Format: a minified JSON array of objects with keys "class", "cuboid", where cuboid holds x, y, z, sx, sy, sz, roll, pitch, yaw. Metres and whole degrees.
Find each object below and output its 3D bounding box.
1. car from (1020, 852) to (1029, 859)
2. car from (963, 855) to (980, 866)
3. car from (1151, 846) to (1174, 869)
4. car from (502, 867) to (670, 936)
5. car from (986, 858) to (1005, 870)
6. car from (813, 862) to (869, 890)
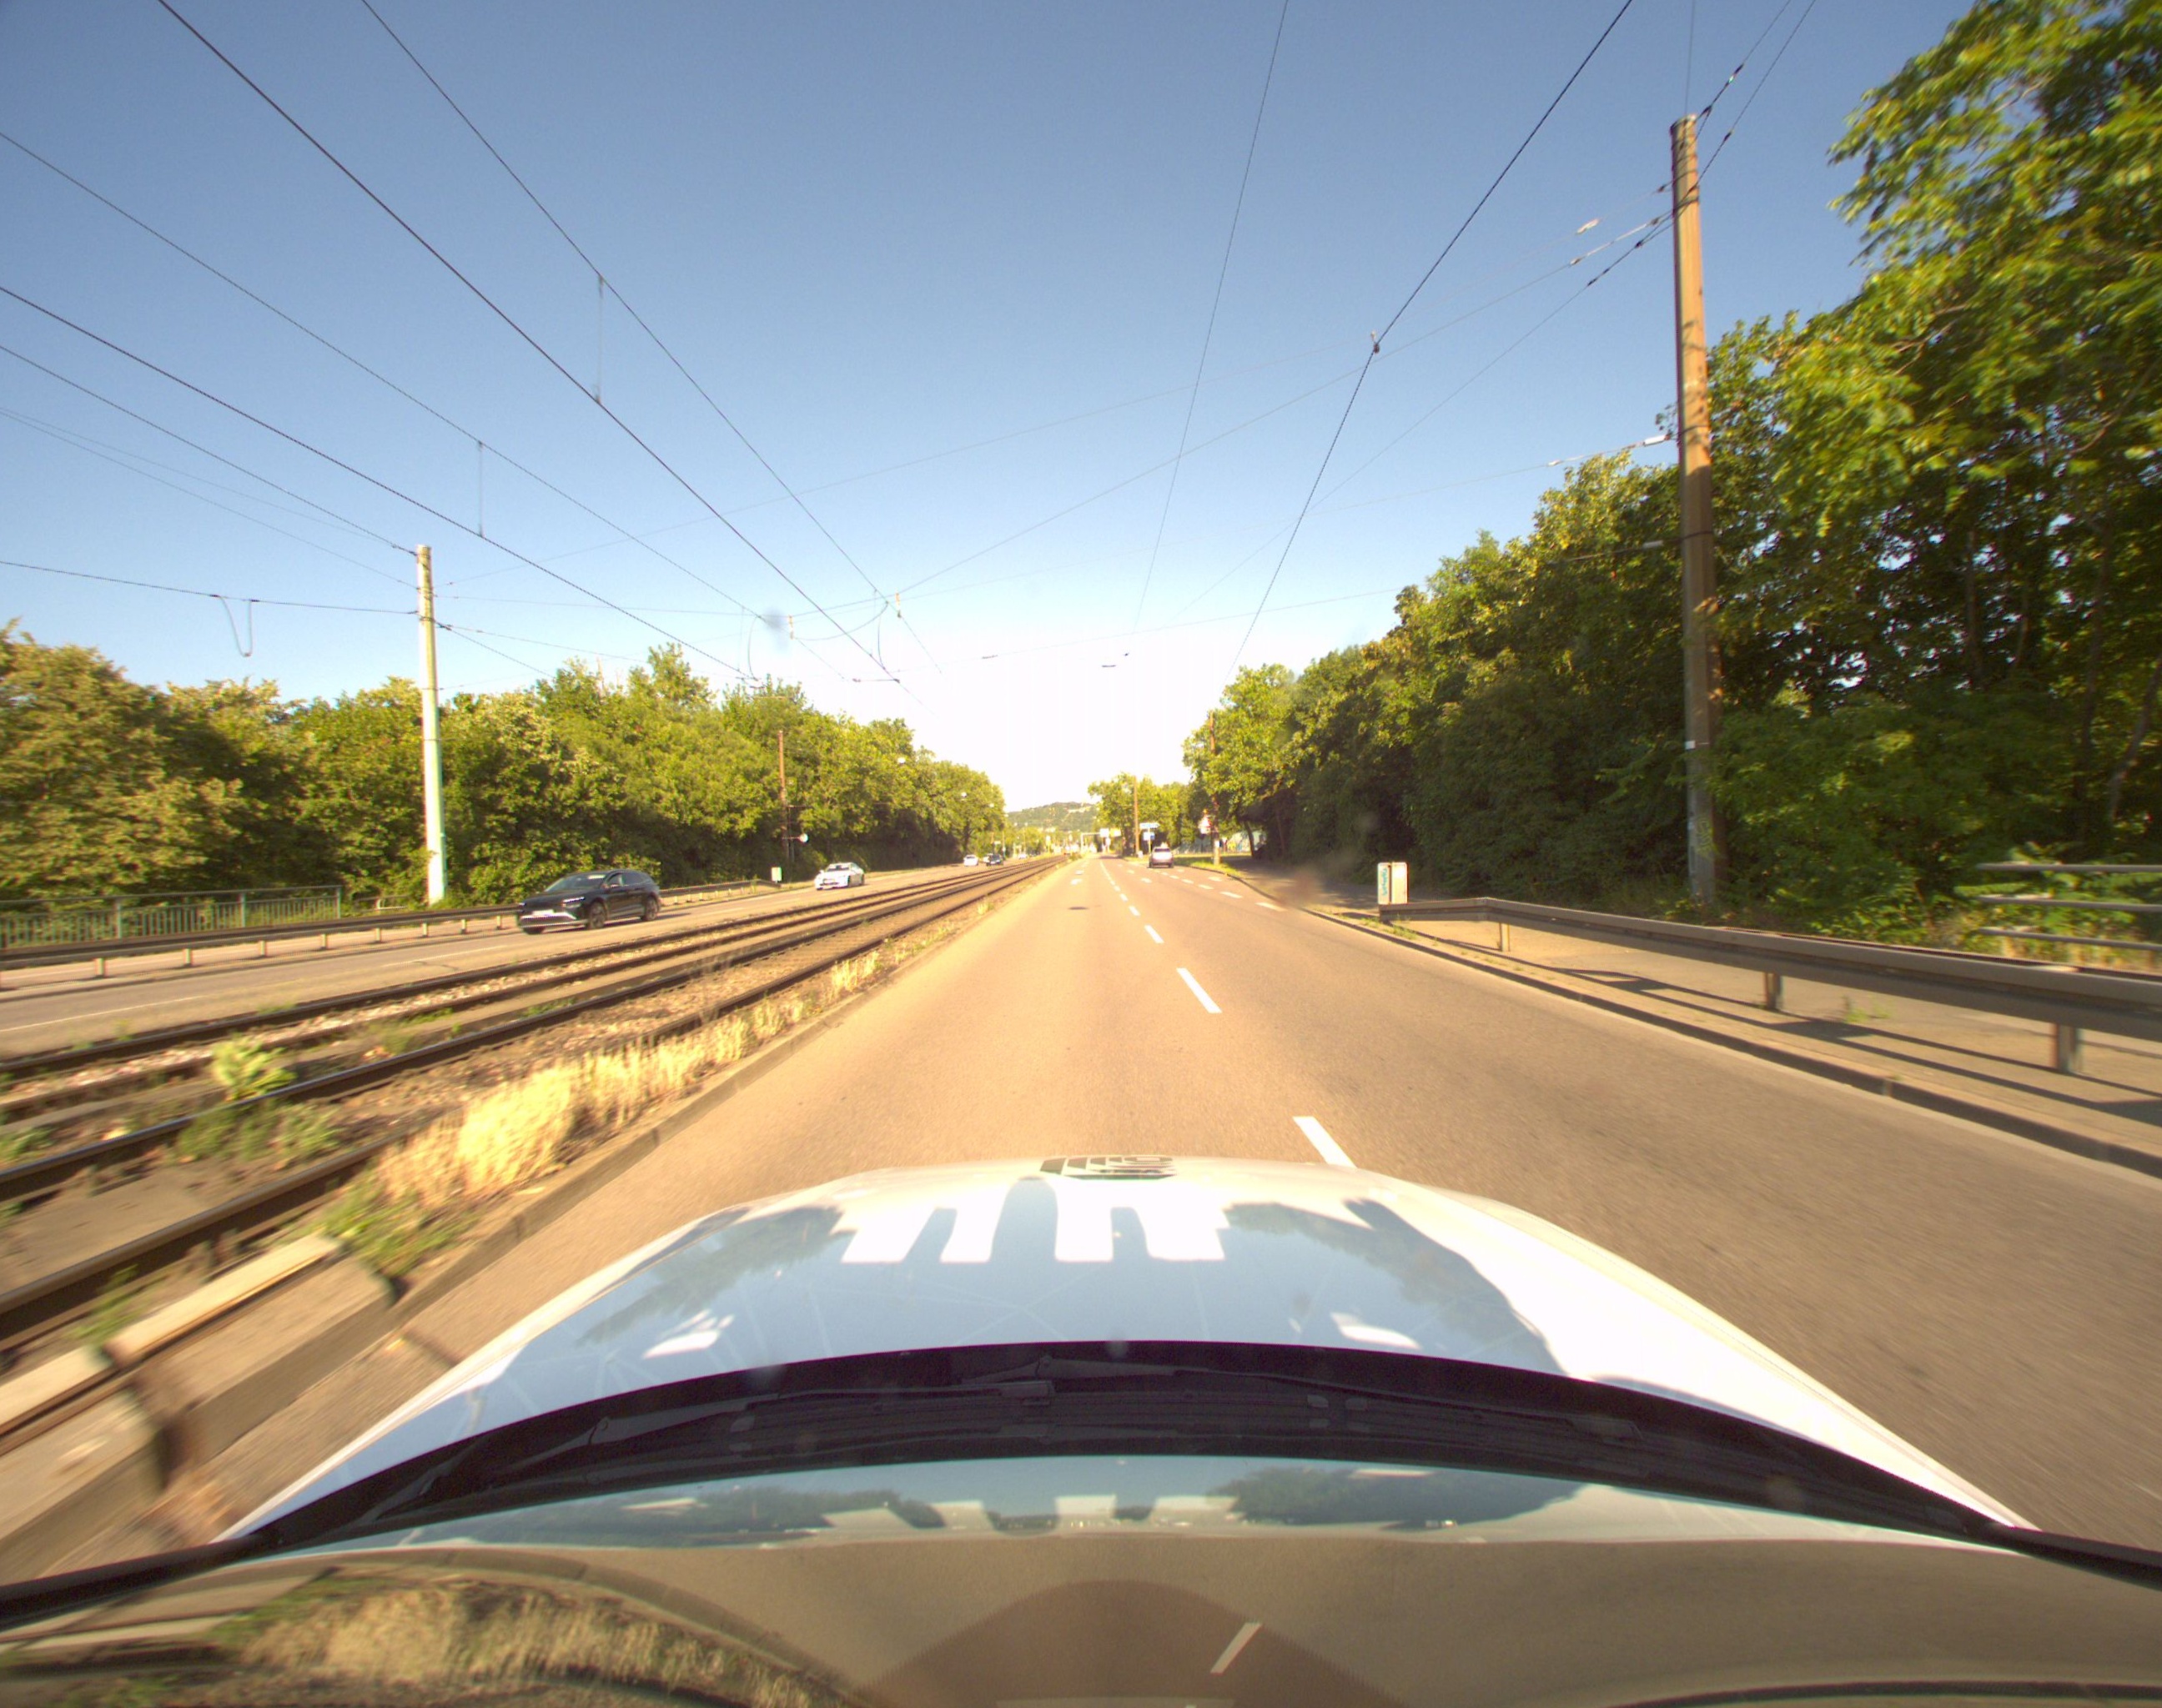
[{"class":"car","cuboid":[-14.491,0.450,207.995,1.957,1.707,4.941,-4,0,-2]},{"class":"car","cuboid":[-16.004,0.956,119.120,1.685,1.556,4.192,-4,0,1]},{"class":"car","cuboid":[6.545,0.279,65.451,1.800,1.773,3.868,-1,0,5]},{"class":"car","cuboid":[-13.567,1.236,22.744,1.704,1.580,4.800,-3,0,0]},{"class":"car","cuboid":[-10.821,1.227,103.217,1.651,1.432,4.502,-4,0,1]},{"class":"car","cuboid":[-13.803,1.240,47.059,1.750,1.414,4.875,-4,0,-1]}]
